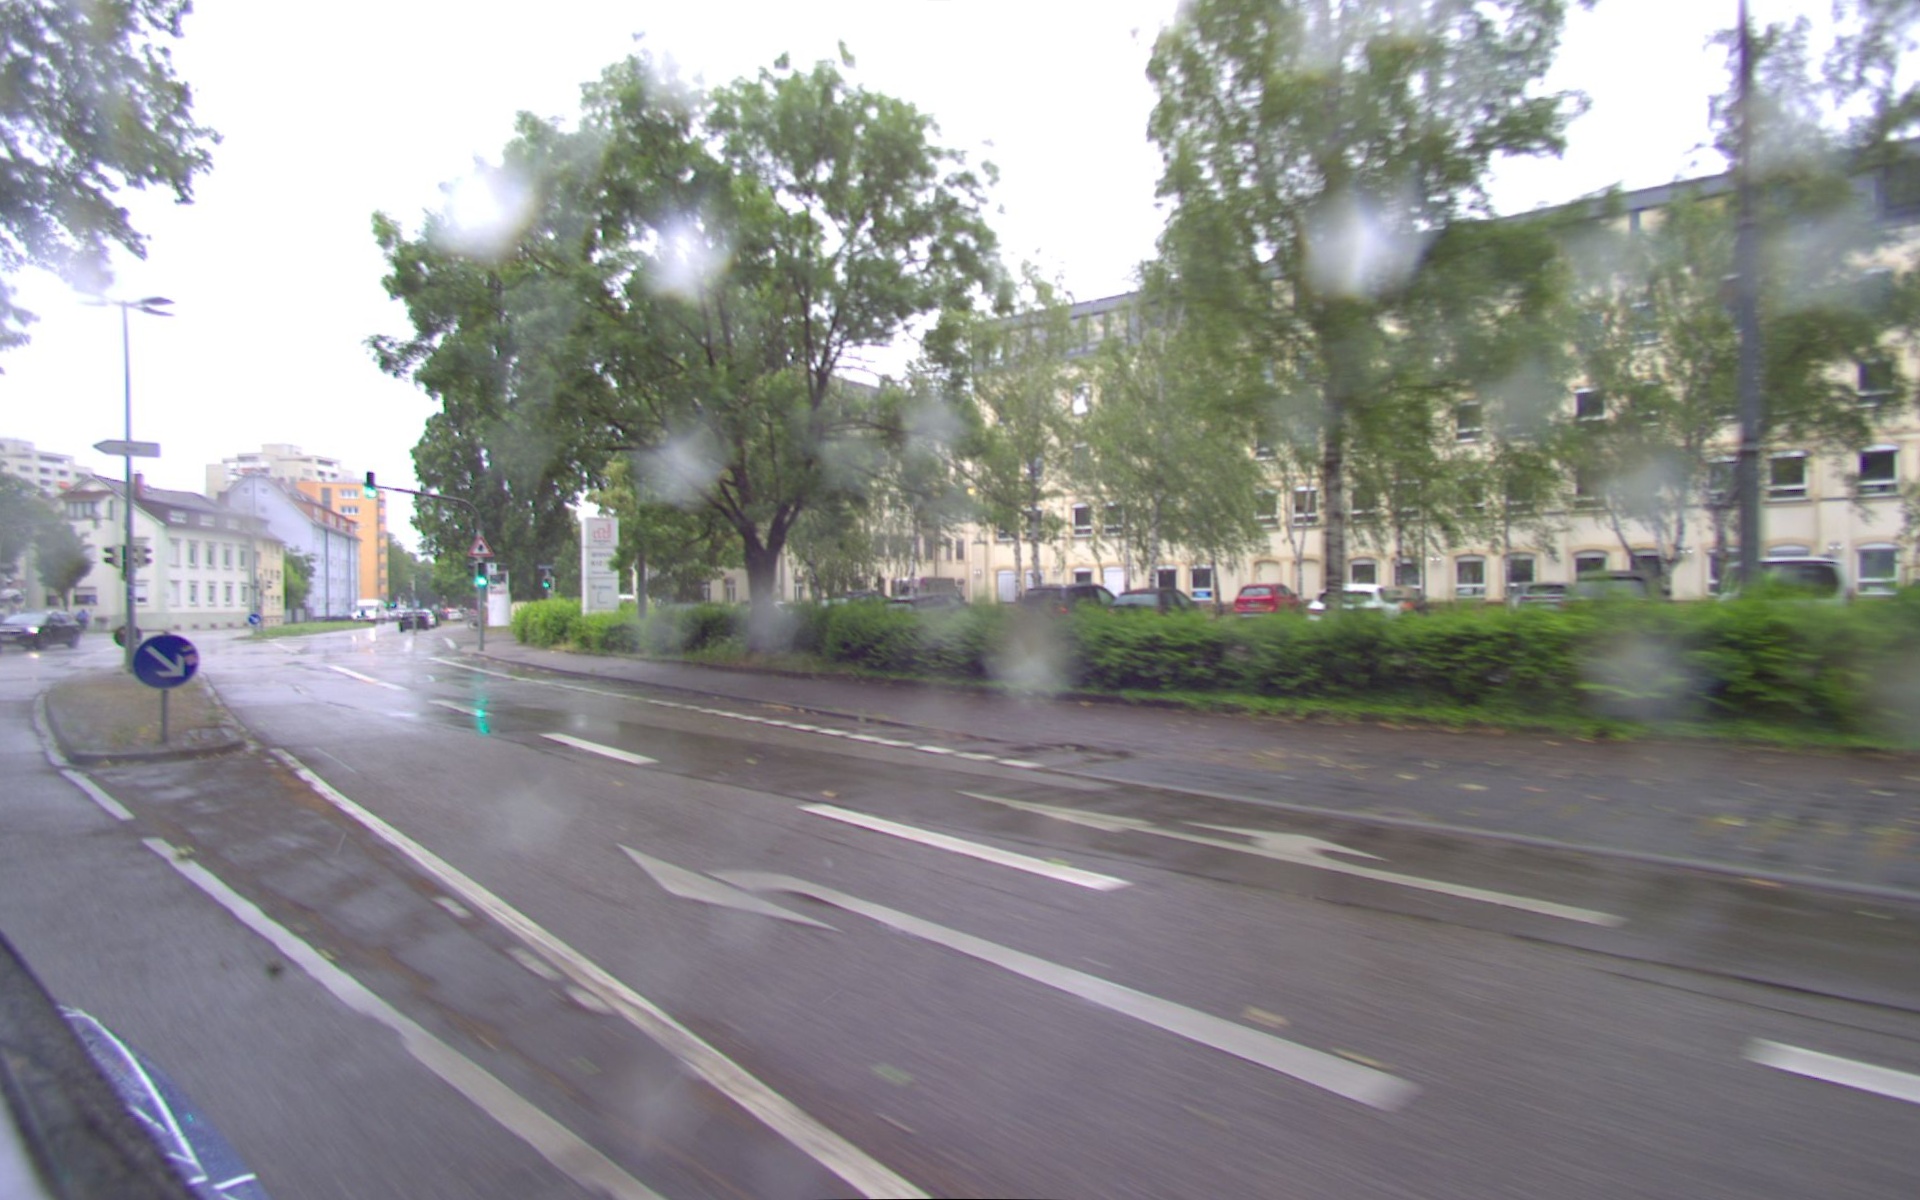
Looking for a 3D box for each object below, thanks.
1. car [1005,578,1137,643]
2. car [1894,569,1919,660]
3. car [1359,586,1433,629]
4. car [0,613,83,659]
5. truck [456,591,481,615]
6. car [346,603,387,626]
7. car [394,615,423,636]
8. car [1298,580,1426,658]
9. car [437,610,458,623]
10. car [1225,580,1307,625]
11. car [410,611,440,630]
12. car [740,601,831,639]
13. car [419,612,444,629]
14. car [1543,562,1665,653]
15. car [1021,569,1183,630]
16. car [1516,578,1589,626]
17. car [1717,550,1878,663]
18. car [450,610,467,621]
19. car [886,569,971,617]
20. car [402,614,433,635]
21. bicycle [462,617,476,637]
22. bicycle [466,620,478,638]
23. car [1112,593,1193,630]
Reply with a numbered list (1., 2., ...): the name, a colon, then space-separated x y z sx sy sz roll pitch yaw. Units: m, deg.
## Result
1. car: 3.124 0.258 27.868 1.650 1.623 3.946 -2 0 41
2. car: 17.598 0.237 17.362 1.714 1.611 3.774 -2 0 34
3. car: 16.868 0.292 39.055 1.778 1.564 3.951 -1 0 36
4. car: -36.429 1.384 39.738 1.801 1.641 4.013 -2 0 -22
5. truck: -98.052 0.627 202.059 3.769 4.418 10.821 -2 0 -23
6. car: -61.177 1.446 104.377 2.159 2.272 4.896 -2 0 -12
7. car: -39.454 1.792 72.508 1.523 1.408 4.208 -3 1 -25
8. car: 9.498 0.400 23.738 1.995 1.651 3.954 -2 0 34
9. car: -60.597 1.924 119.708 1.965 1.431 4.013 -2 0 -24
10. car: 12.238 0.127 40.323 1.996 1.699 3.952 -1 -1 35
11. car: -46.342 1.753 87.746 1.965 1.579 4.013 -2 0 -24
12. car: -8.177 0.937 47.354 4.010 1.699 1.764 -1 -1 31
13. car: -52.699 2.023 101.003 1.965 1.579 4.013 -2 0 -24
14. car: 13.103 0.112 20.500 1.706 1.651 3.950 -2 0 38
15. car: 3.480 -0.038 24.427 3.938 1.349 1.719 -2 0 -41
16. car: 20.635 0.061 35.184 1.648 1.565 3.949 -1 -1 38
17. car: 15.307 0.092 18.707 1.850 1.847 3.954 -2 0 34
18. car: -69.732 2.201 140.763 1.965 1.431 4.013 -2 0 -24
19. car: -2.143 -0.508 71.525 2.832 3.218 6.143 -2 0 35
20. car: -44.176 1.982 82.481 1.965 1.579 4.013 -2 0 -24
21. bicycle: -30.918 1.701 63.707 0.687 1.195 1.629 -2 0 -29
22. bicycle: -29.254 1.727 60.683 0.548 1.085 1.801 -2 0 -29
23. car: 8.482 0.490 44.388 1.996 1.530 3.952 -1 -1 35
